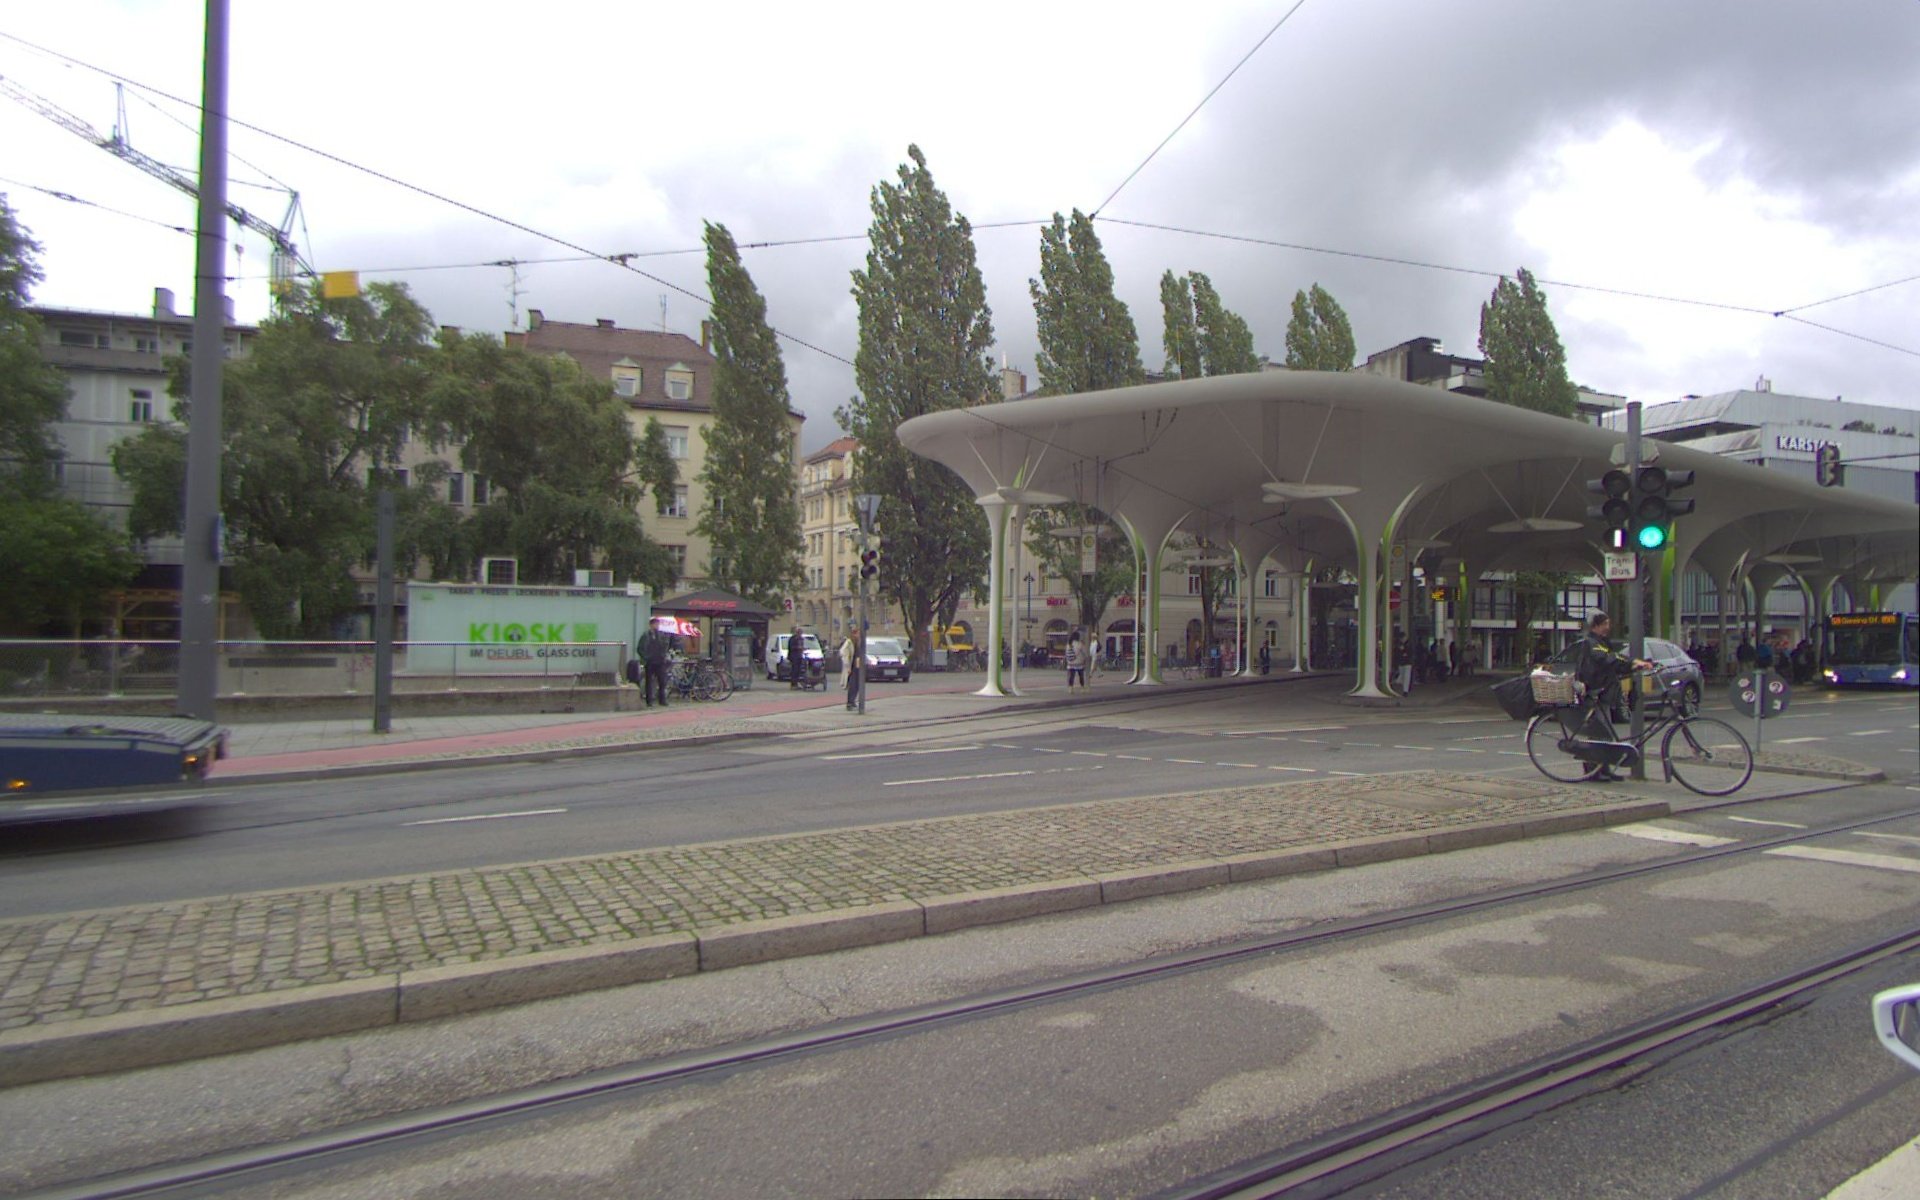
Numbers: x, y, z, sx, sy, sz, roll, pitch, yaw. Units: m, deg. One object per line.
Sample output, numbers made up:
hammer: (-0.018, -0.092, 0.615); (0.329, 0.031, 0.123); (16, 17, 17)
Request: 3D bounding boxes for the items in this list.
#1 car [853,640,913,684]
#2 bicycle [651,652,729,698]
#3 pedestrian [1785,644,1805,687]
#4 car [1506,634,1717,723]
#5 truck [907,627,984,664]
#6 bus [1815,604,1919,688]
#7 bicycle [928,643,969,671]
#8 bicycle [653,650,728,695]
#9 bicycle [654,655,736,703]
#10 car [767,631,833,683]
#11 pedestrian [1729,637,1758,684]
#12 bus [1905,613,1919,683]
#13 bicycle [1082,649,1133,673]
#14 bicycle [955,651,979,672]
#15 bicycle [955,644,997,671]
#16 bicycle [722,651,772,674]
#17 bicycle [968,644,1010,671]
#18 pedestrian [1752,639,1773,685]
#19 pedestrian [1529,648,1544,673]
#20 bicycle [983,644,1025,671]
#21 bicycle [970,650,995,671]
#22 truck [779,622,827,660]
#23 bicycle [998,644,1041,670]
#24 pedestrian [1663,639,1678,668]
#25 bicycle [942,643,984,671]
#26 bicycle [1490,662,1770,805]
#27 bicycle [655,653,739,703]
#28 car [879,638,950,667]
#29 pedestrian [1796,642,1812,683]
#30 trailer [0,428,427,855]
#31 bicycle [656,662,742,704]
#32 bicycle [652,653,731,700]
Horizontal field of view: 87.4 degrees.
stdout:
car: (-3.090, 2.390, 39.622); (1.799, 1.636, 3.991); (1, -2, -13)
bicycle: (-6.675, 1.852, 24.859); (1.819, 1.110, 0.478); (1, -2, -17)
pedestrian: (34.688, 2.727, 41.742); (0.563, 1.756, 0.505); (-1, -2, 34)
car: (13.556, 1.591, 20.832); (4.626, 1.660, 1.853); (2, -4, -32)
truck: (-1.145, 3.313, 73.590); (2.413, 2.545, 7.125); (2, -2, -31)
bus: (38.031, 1.891, 40.301); (10.400, 3.046, 2.646); (2, -4, -33)
bicycle: (-0.751, 3.582, 63.319); (0.989, 1.634, 3.597); (2, -2, -29)
bicycle: (-6.859, 1.848, 25.586); (1.819, 1.110, 0.478); (1, -2, -17)
bicycle: (-6.250, 1.862, 23.709); (1.819, 1.110, 0.478); (1, -2, -17)
car: (-6.599, 2.275, 41.036); (1.842, 1.973, 4.911); (1, -2, -19)
pedestrian: (29.915, 2.302, 38.353); (0.874, 1.744, 0.707); (2, -2, -40)
bus: (45.588, 2.131, 45.051); (7.427, 3.046, 2.648); (2, -4, -31)
bicycle: (8.675, 3.585, 59.164); (2.886, 1.331, 0.841); (1, -2, -6)
bicycle: (0.376, 3.559, 58.152); (0.727, 1.149, 2.677); (1, -2, -15)
bicycle: (1.020, 3.637, 64.236); (0.989, 1.634, 3.597); (2, -2, -29)
bicycle: (-10.999, 3.219, 51.824); (2.395, 1.143, 0.818); (1, -2, -21)
bicycle: (1.868, 3.664, 64.786); (0.989, 1.634, 3.597); (2, -2, -29)
pedestrian: (31.280, 2.393, 39.153); (0.559, 1.766, 0.752); (-1, -3, 44)
pedestrian: (30.545, 3.212, 53.243); (0.563, 1.282, 0.520); (0, -2, 19)
bicycle: (2.849, 3.695, 65.283); (0.989, 1.634, 3.597); (2, -2, -29)
bicycle: (1.276, 3.520, 58.519); (0.727, 1.149, 2.677); (1, -2, -15)
truck: (-11.477, 2.999, 73.194); (2.259, 2.657, 5.324); (1, -2, -22)
bicycle: (3.872, 3.728, 65.942); (0.989, 1.634, 3.597); (2, -2, -29)
pedestrian: (40.386, 3.052, 57.063); (0.543, 1.632, 0.568); (2, -2, -39)
bicycle: (0.148, 3.610, 63.830); (0.989, 1.634, 3.597); (2, -2, -29)
bicycle: (6.388, 1.240, 9.731); (2.191, 1.165, 0.505); (1, -1, 29)
bicycle: (-6.037, 1.779, 23.106); (1.821, 1.110, 0.478); (1, -2, -20)
car: (-3.114, 3.624, 69.229); (4.708, 1.945, 2.001); (0, -2, 2)
pedestrian: (33.494, 2.476, 39.871); (0.387, 1.626, 0.390); (2, -2, -35)
trailer: (-11.286, 0.182, 4.598); (15.469, 2.717, 2.596); (2, -4, -33)
bicycle: (-5.867, 1.855, 22.578); (1.823, 0.906, 0.478); (1, -2, -23)
bicycle: (-6.498, 1.856, 24.365); (1.819, 1.110, 0.478); (1, -2, -17)
